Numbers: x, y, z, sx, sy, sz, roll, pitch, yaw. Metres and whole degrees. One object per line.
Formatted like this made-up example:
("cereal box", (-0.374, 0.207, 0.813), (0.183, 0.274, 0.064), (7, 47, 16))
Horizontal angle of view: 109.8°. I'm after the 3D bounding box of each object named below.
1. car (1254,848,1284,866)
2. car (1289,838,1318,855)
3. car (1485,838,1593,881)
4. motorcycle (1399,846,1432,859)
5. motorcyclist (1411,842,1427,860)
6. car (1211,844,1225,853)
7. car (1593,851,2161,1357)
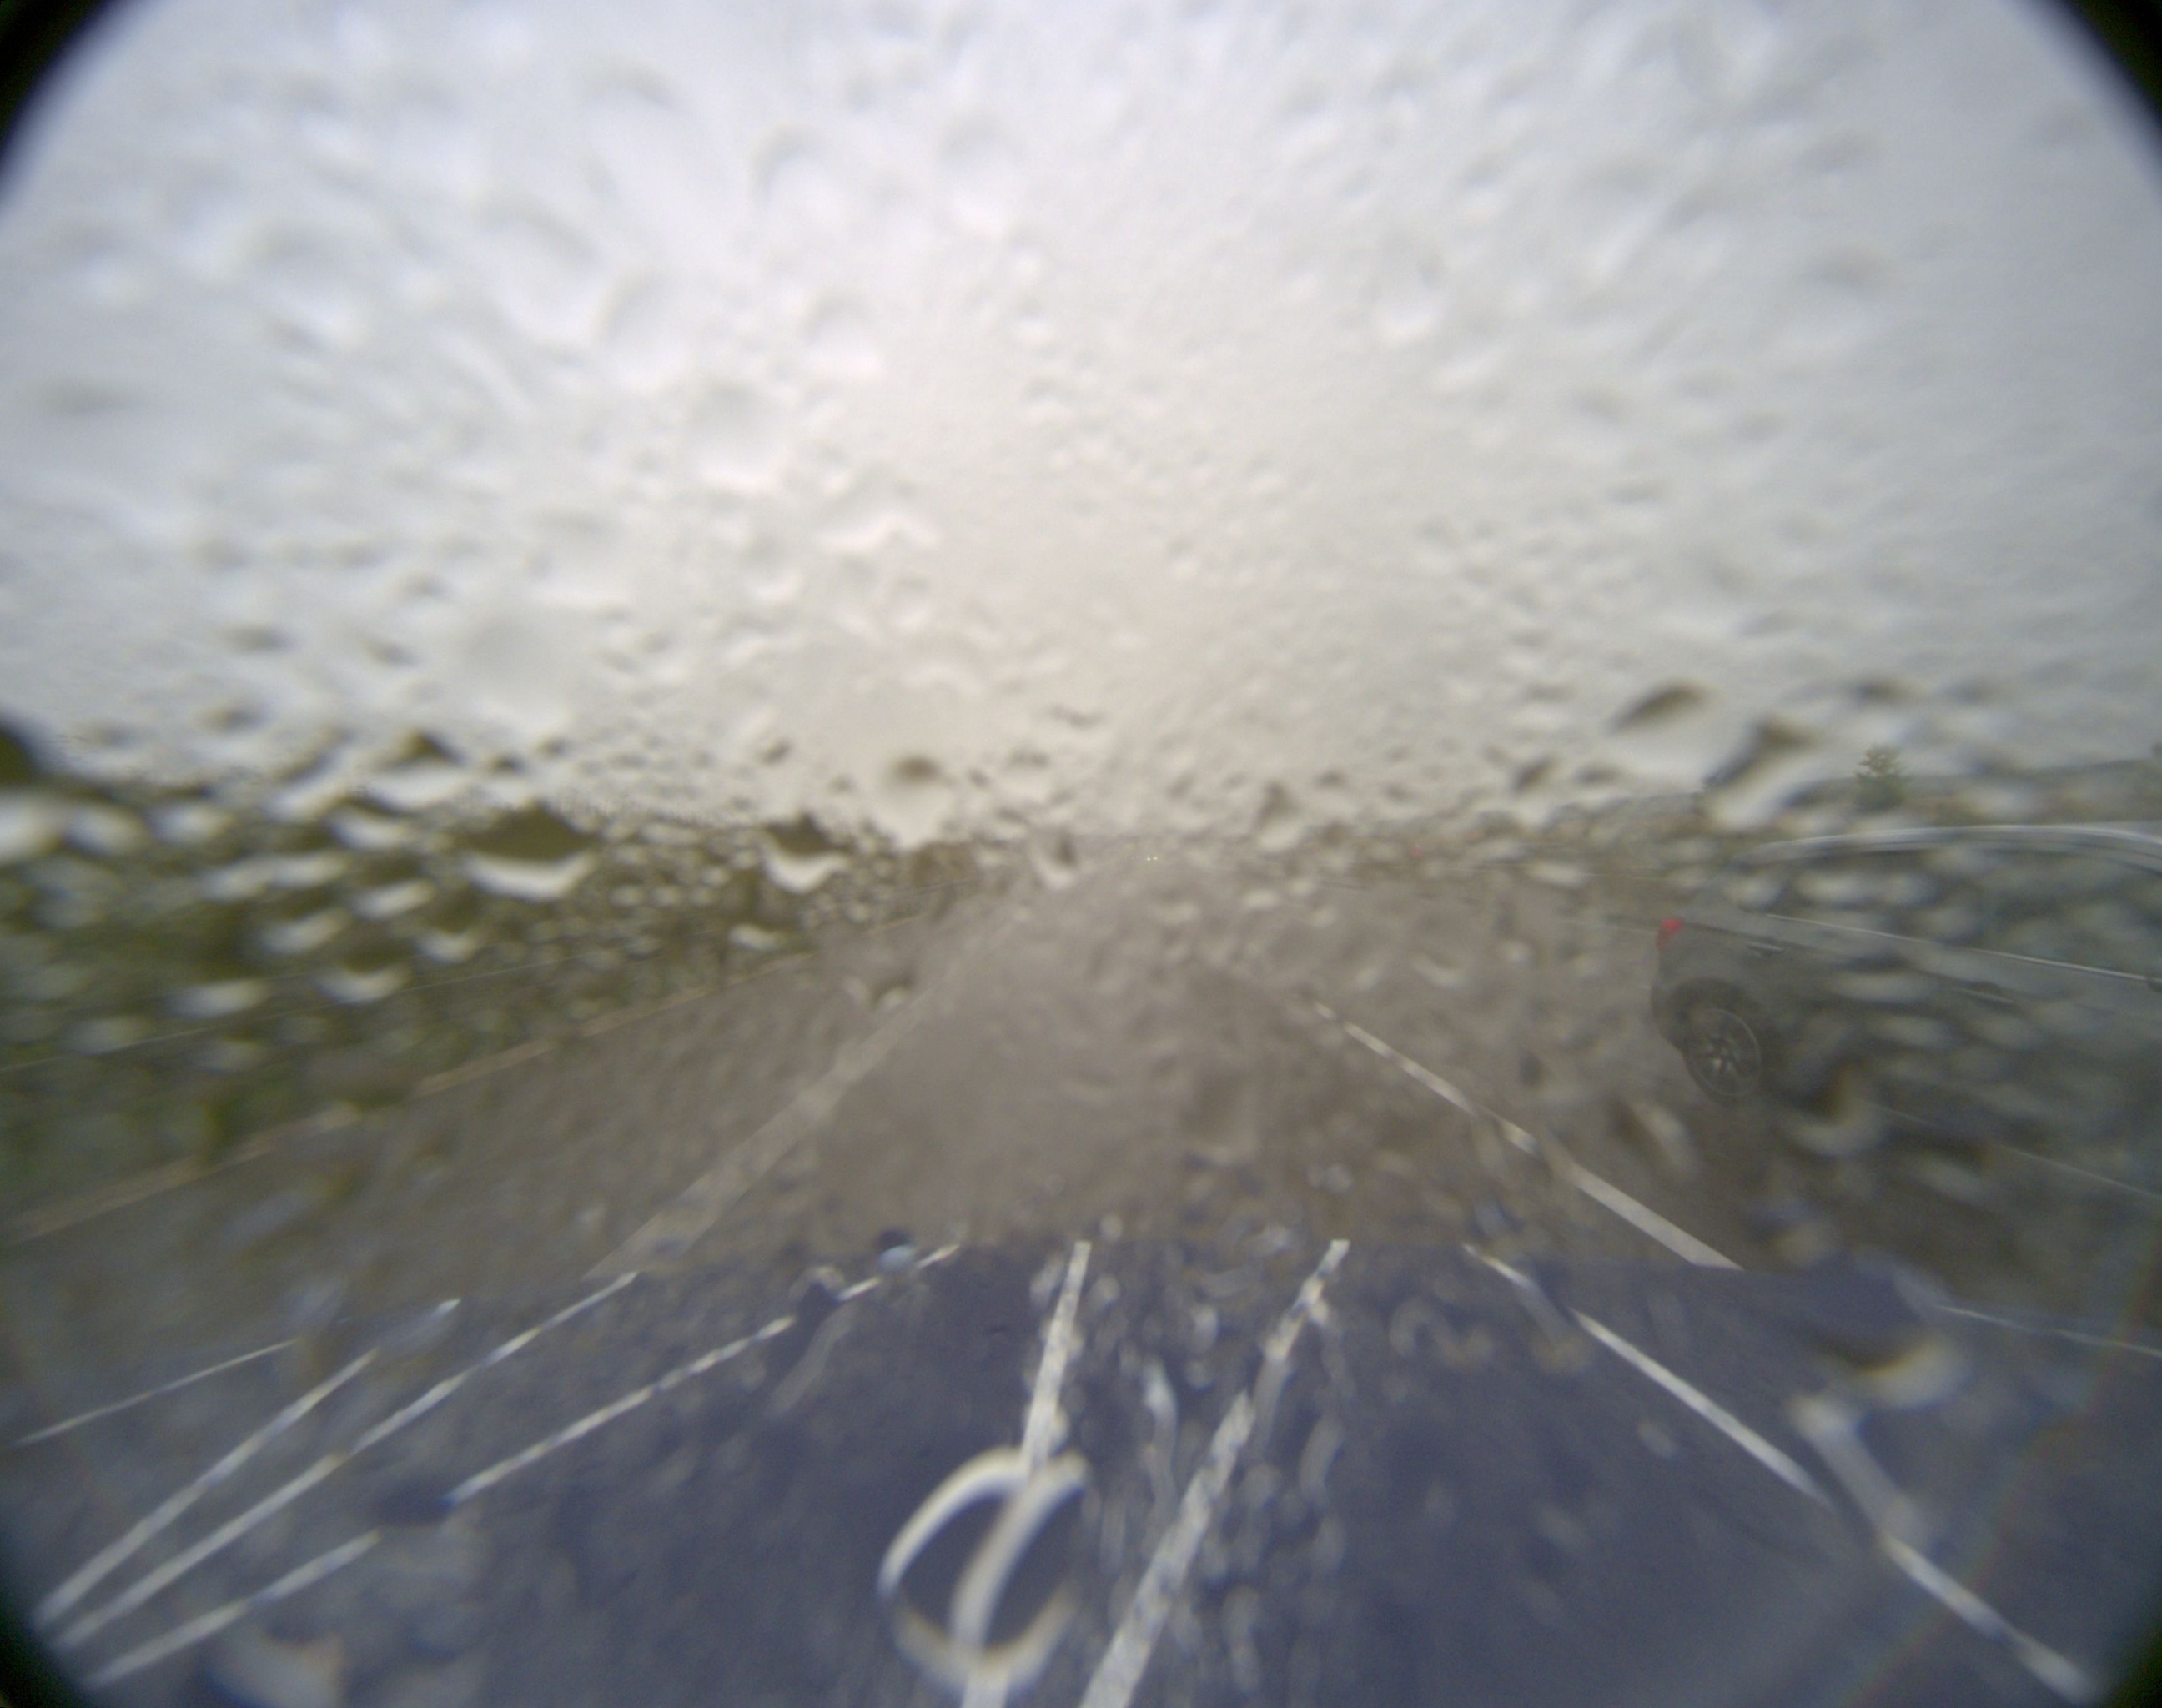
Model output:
("car", (17.585, 0.297, 71.262), (1.824, 1.565, 4.086), (-2, 0, 1))
("car", (21.110, -0.722, 72.324), (1.699, 1.477, 4.000), (-2, 0, 2))
("car", (19.659, 0.201, 32.905), (1.998, 1.674, 4.444), (-2, 0, 1))
("motorcycle", (24.855, -0.130, 56.540), (0.921, 0.908, 3.545), (-2, 0, 2))
("motorcyclist", (24.767, -0.248, 55.692), (0.750, 1.301, 0.940), (-2, 1, 1))
("car", (25.732, -1.071, 142.744), (1.998, 1.543, 4.001), (-2, 0, 3))
("car", (4.291, 0.788, 2.592), (1.851, 1.504, 4.756), (-2, 0, 0))
